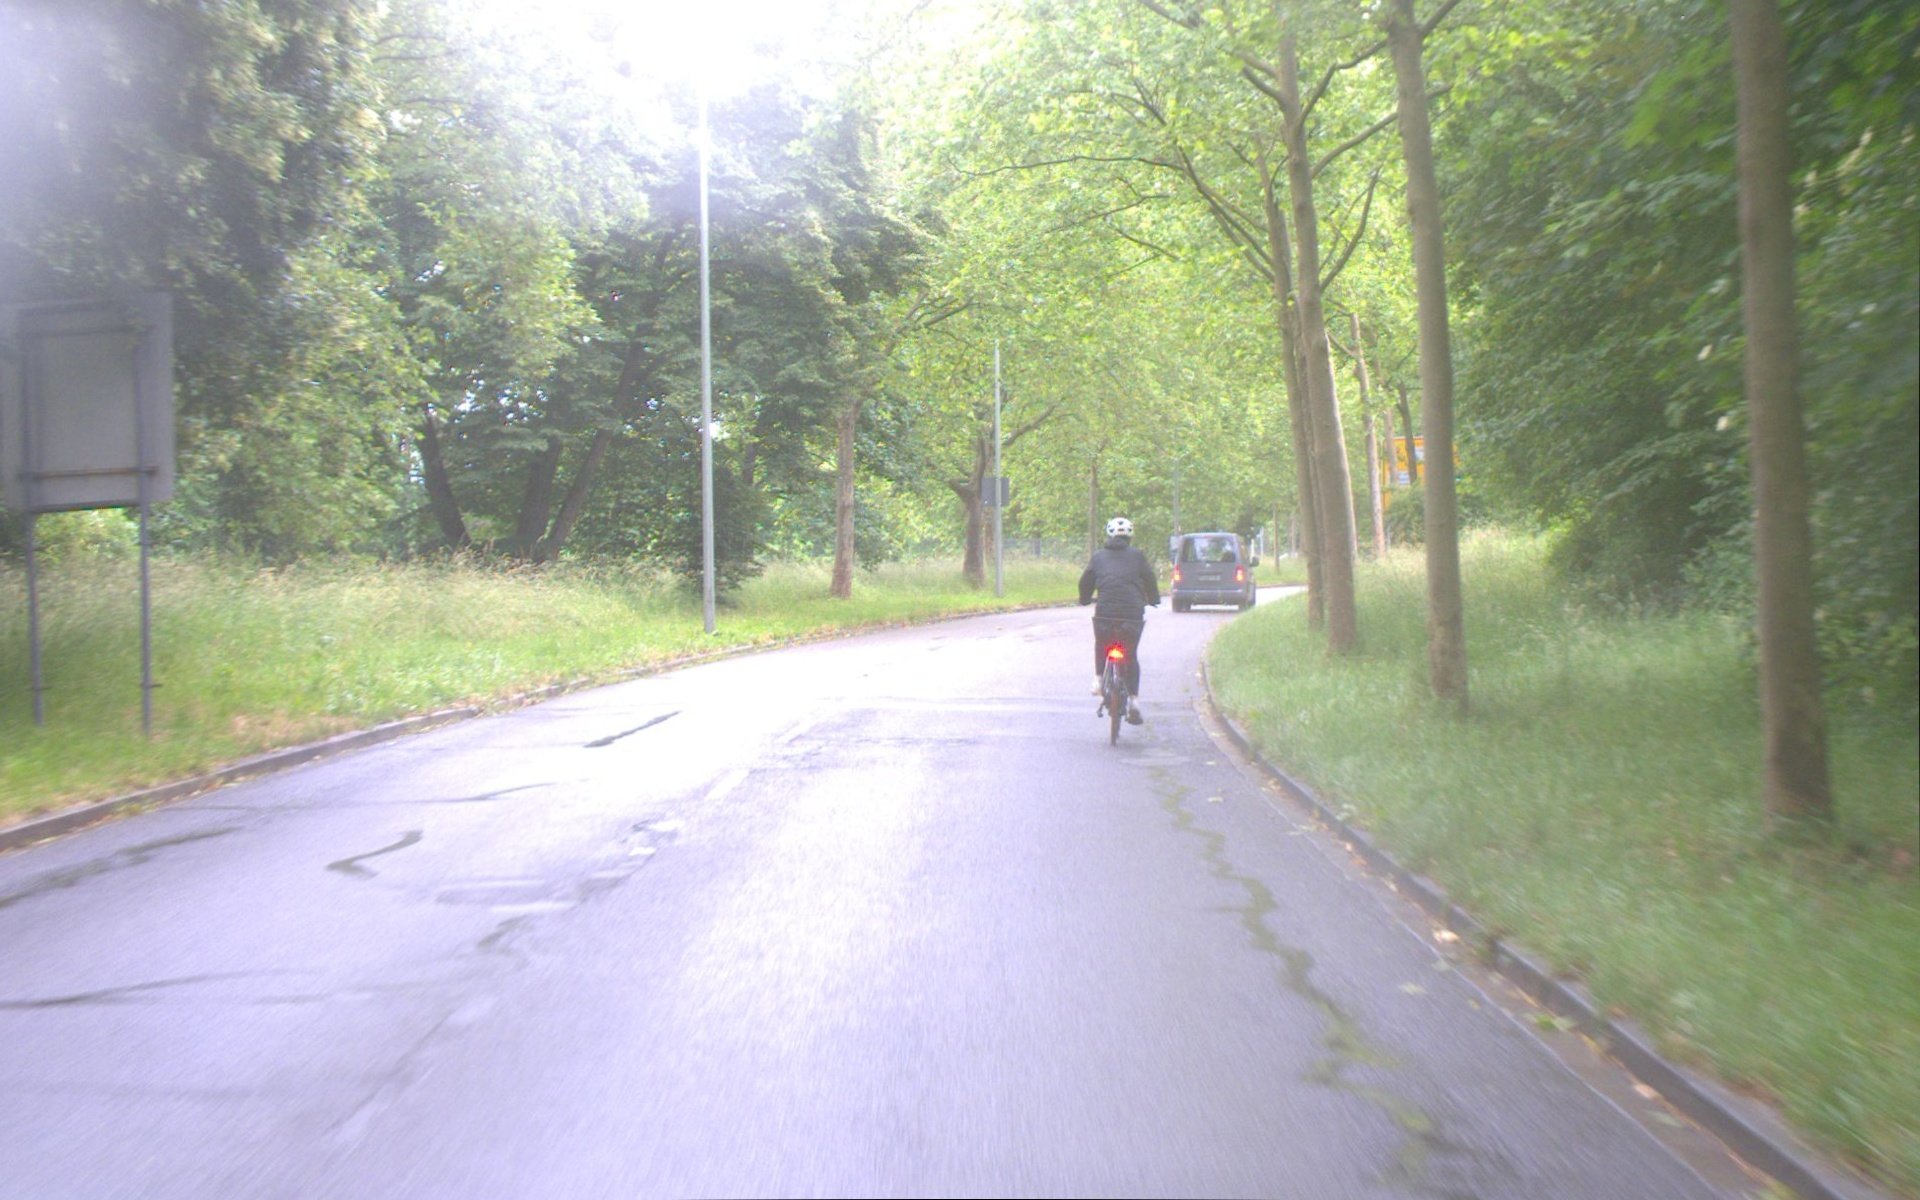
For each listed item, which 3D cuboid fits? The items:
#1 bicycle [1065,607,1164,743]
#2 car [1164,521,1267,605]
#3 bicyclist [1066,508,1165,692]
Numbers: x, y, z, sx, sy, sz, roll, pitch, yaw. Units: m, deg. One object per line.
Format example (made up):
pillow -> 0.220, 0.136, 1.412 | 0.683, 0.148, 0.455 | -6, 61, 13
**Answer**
bicycle -> 1.209, 0.566, 27.021 | 0.730, 0.970, 2.173 | 1, 1, 2
car -> 5.997, -0.878, 80.286 | 1.986, 1.919, 3.998 | 0, 1, 10
bicyclist -> 1.214, -0.008, 26.873 | 0.730, 1.406, 0.973 | 1, 1, 2
